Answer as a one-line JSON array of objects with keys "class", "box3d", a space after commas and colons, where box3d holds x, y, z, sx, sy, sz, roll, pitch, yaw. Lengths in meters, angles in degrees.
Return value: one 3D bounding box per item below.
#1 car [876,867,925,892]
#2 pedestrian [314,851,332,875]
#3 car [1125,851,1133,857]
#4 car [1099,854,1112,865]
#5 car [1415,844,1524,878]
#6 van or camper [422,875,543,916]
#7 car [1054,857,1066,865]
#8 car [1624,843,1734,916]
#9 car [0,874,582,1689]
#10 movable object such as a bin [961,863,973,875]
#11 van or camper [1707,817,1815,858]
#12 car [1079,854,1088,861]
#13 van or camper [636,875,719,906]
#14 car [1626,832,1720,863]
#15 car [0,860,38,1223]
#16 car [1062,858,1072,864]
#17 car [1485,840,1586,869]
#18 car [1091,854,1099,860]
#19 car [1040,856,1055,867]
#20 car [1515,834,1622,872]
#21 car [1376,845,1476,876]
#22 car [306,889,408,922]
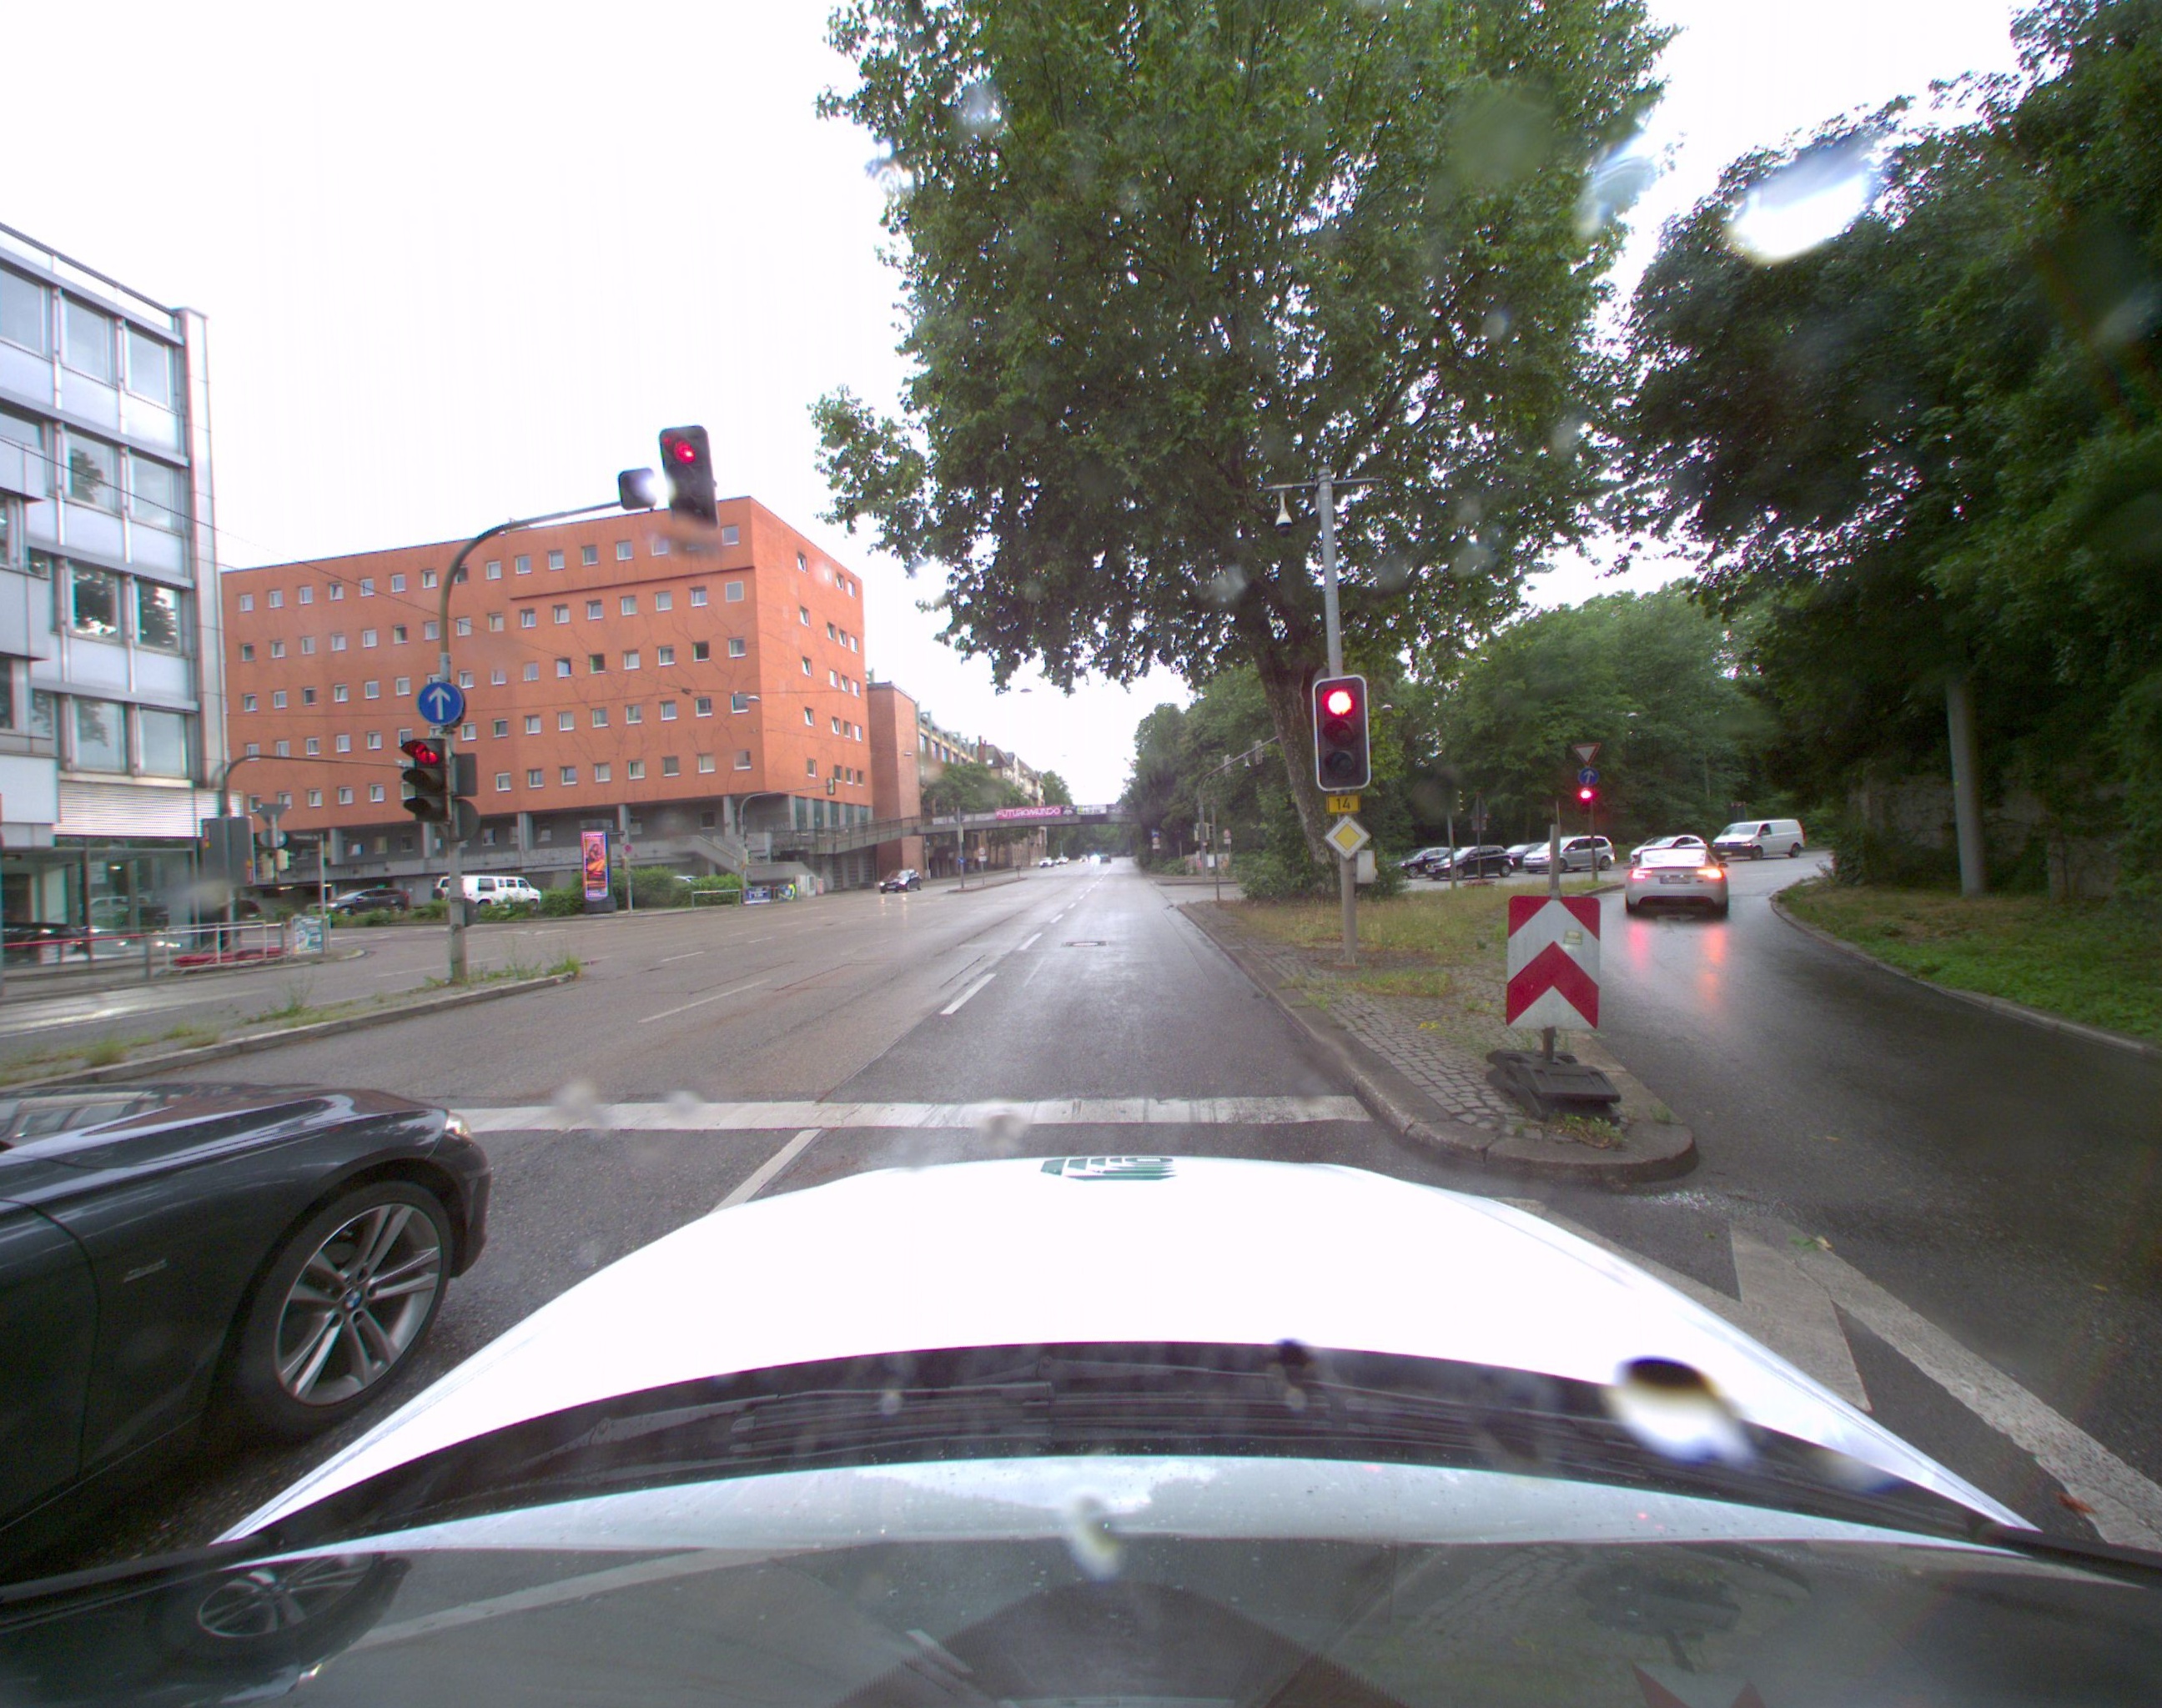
[{"class": "car", "box3d": [-11.298, 1.599, 51.292, 1.677, 1.419, 4.221, -4, -1, 6]}, {"class": "pedestrian", "box3d": [-60.238, 0.704, 64.686, 0.757, 1.839, 0.727, -1, -1, 11]}, {"class": "car", "box3d": [12.414, -0.072, 209.579, 1.835, 1.453, 3.778, 0, -1, 2]}, {"class": "car", "box3d": [3.948, 0.941, 133.977, 1.998, 1.643, 4.376, -3, 0, 0]}, {"class": "car", "box3d": [17.164, 0.306, 36.024, 4.192, 1.460, 1.784, 0, -1, -14]}, {"class": "van or camper", "box3d": [-32.831, 2.231, 44.924, 2.113, 1.977, 5.466, -1, -1, 9]}, {"class": "car", "box3d": [-4.024, 1.272, 157.220, 1.701, 1.464, 4.047, -3, -1, 5]}, {"class": "car", "box3d": [13.885, 0.494, 19.000, 1.834, 1.448, 4.648, 2, 2, 36]}, {"class": "car", "box3d": [-2.920, 0.836, 0.884, 1.769, 1.458, 4.480, -3, -1, 3]}, {"class": "movable object such as a bin", "box3d": [-15.109, 1.945, 107.668, 1.277, 1.518, 1.274, -3, 0, 3]}, {"class": "van or camper", "box3d": [34.716, -0.833, 41.577, 4.861, 1.947, 1.896, -1, -1, -17]}, {"class": "car", "box3d": [0.627, 0.843, 175.860, 1.676, 1.436, 3.866, -3, -1, 3]}, {"class": "van or camper", "box3d": [-24.116, 2.160, 48.743, 3.965, 1.627, 1.918, -3, 0, 8]}, {"class": "car", "box3d": [28.847, -0.299, 39.713, 3.857, 1.461, 1.650, 0, -1, -14]}, {"class": "car", "box3d": [-5.998, 0.847, 1.679, 1.801, 1.656, 4.449, 0, -1, 4]}, {"class": "car", "box3d": [-4.346, 2.219, 253.359, 1.610, 1.499, 3.676, -3, -1, -29]}, {"class": "car", "box3d": [22.963, 0.036, 41.219, 4.438, 1.402, 1.821, 0, -1, -14]}, {"class": "car", "box3d": [3.658, 0.775, 208.580, 1.823, 1.393, 4.409, -4, -1, 3]}, {"class": "car", "box3d": [-5.355, 1.224, 131.871, 1.881, 1.610, 4.461, -3, -1, 4]}, {"class": "car", "box3d": [22.613, -0.046, 37.821, 4.203, 1.680, 1.898, 0, -1, -14]}, {"class": "car", "box3d": [16.840, 0.315, 39.797, 4.205, 1.440, 1.941, 0, -1, -14]}, {"class": "car", "box3d": [-40.243, 2.828, 45.404, 1.699, 1.612, 4.097, -1, -1, 9]}]
